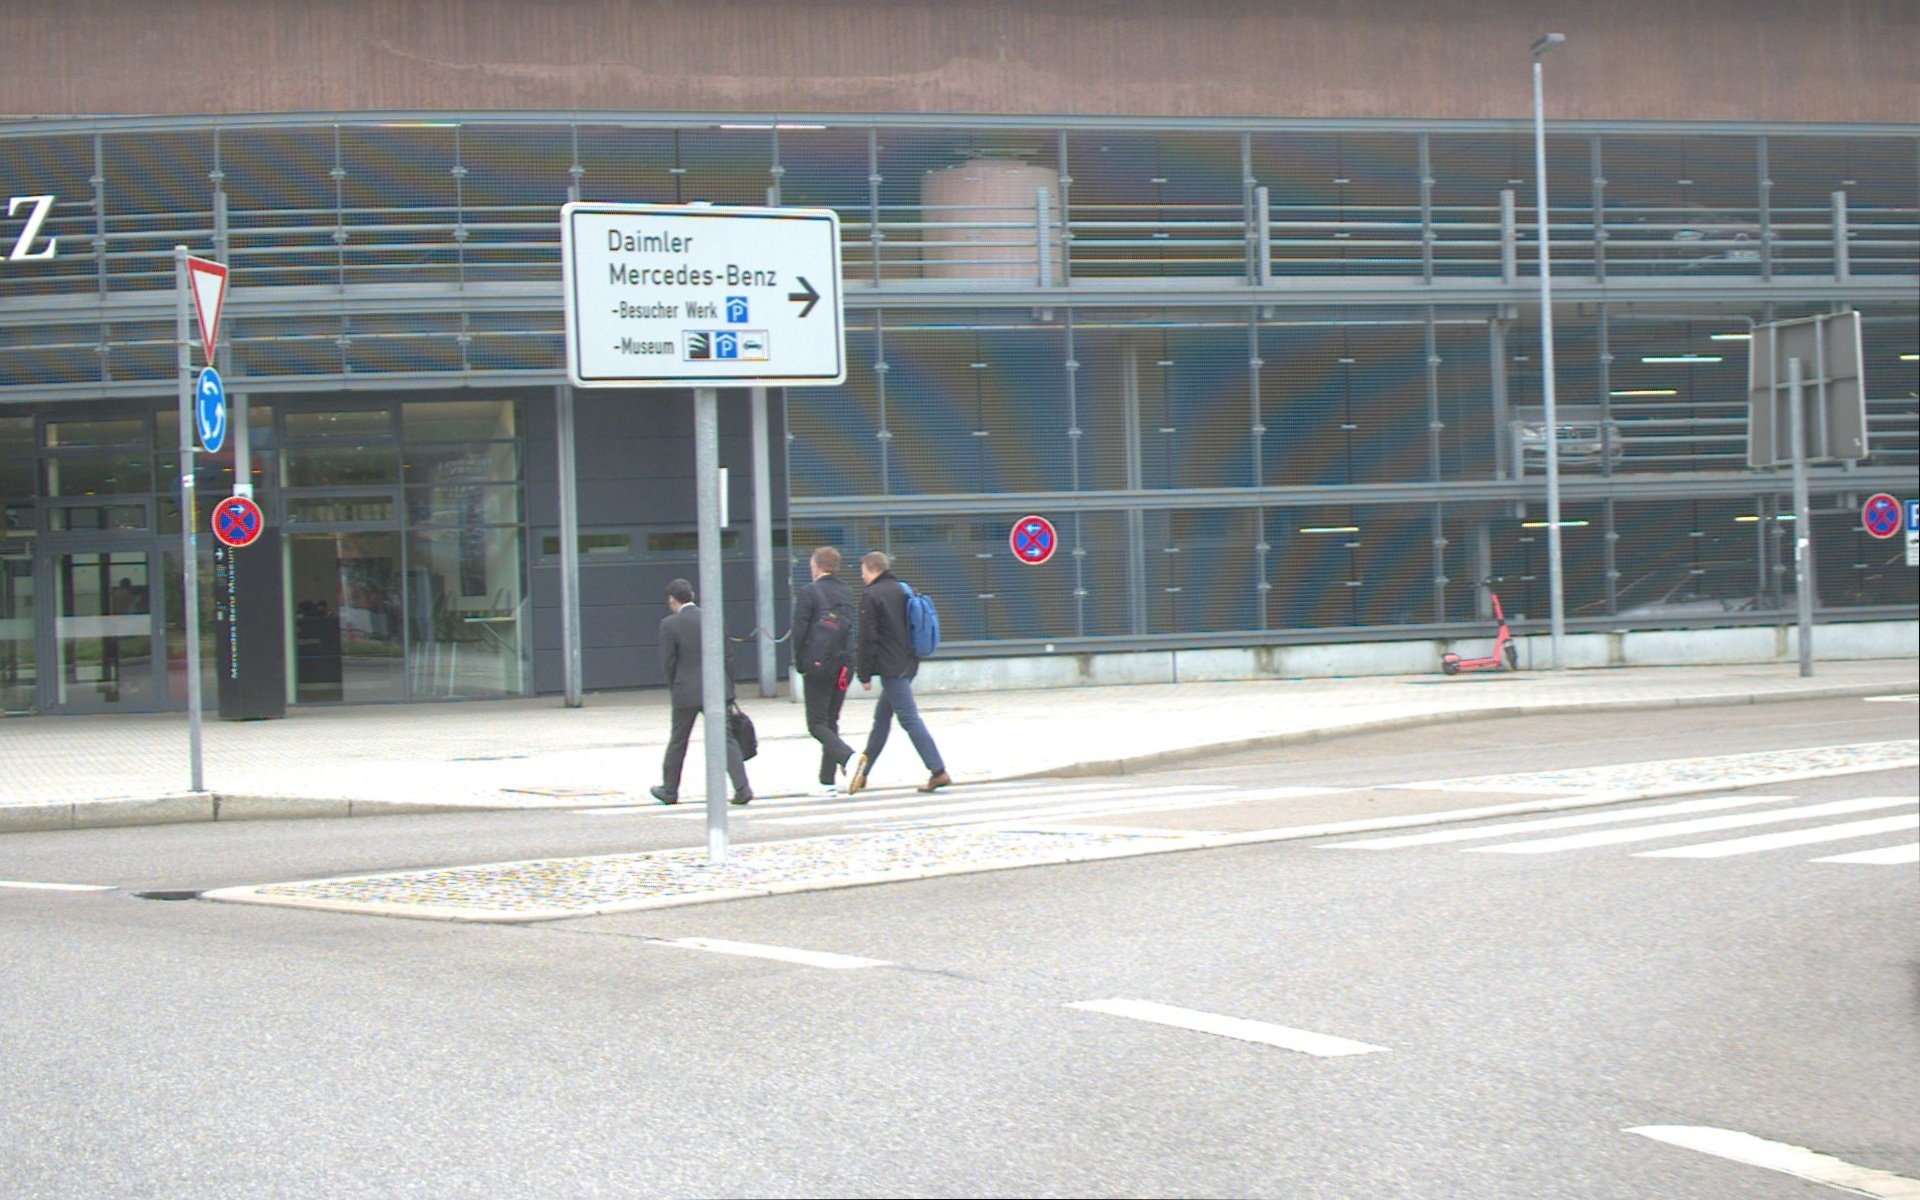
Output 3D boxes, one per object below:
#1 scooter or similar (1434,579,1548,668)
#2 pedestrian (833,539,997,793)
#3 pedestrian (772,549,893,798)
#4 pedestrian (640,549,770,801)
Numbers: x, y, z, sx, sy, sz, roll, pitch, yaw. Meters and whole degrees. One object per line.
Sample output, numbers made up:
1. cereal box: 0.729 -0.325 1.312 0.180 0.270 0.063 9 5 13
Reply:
1. scooter or similar: 6.880 0.304 44.559 1.423 1.119 0.381 -1 1 -17
2. pedestrian: -0.324 0.464 24.908 0.863 1.792 0.783 -1 1 -43
3. pedestrian: -0.883 0.498 24.008 0.784 1.699 0.773 -1 1 1
4. pedestrian: -1.772 0.505 23.817 0.862 1.699 0.773 -1 1 -5
